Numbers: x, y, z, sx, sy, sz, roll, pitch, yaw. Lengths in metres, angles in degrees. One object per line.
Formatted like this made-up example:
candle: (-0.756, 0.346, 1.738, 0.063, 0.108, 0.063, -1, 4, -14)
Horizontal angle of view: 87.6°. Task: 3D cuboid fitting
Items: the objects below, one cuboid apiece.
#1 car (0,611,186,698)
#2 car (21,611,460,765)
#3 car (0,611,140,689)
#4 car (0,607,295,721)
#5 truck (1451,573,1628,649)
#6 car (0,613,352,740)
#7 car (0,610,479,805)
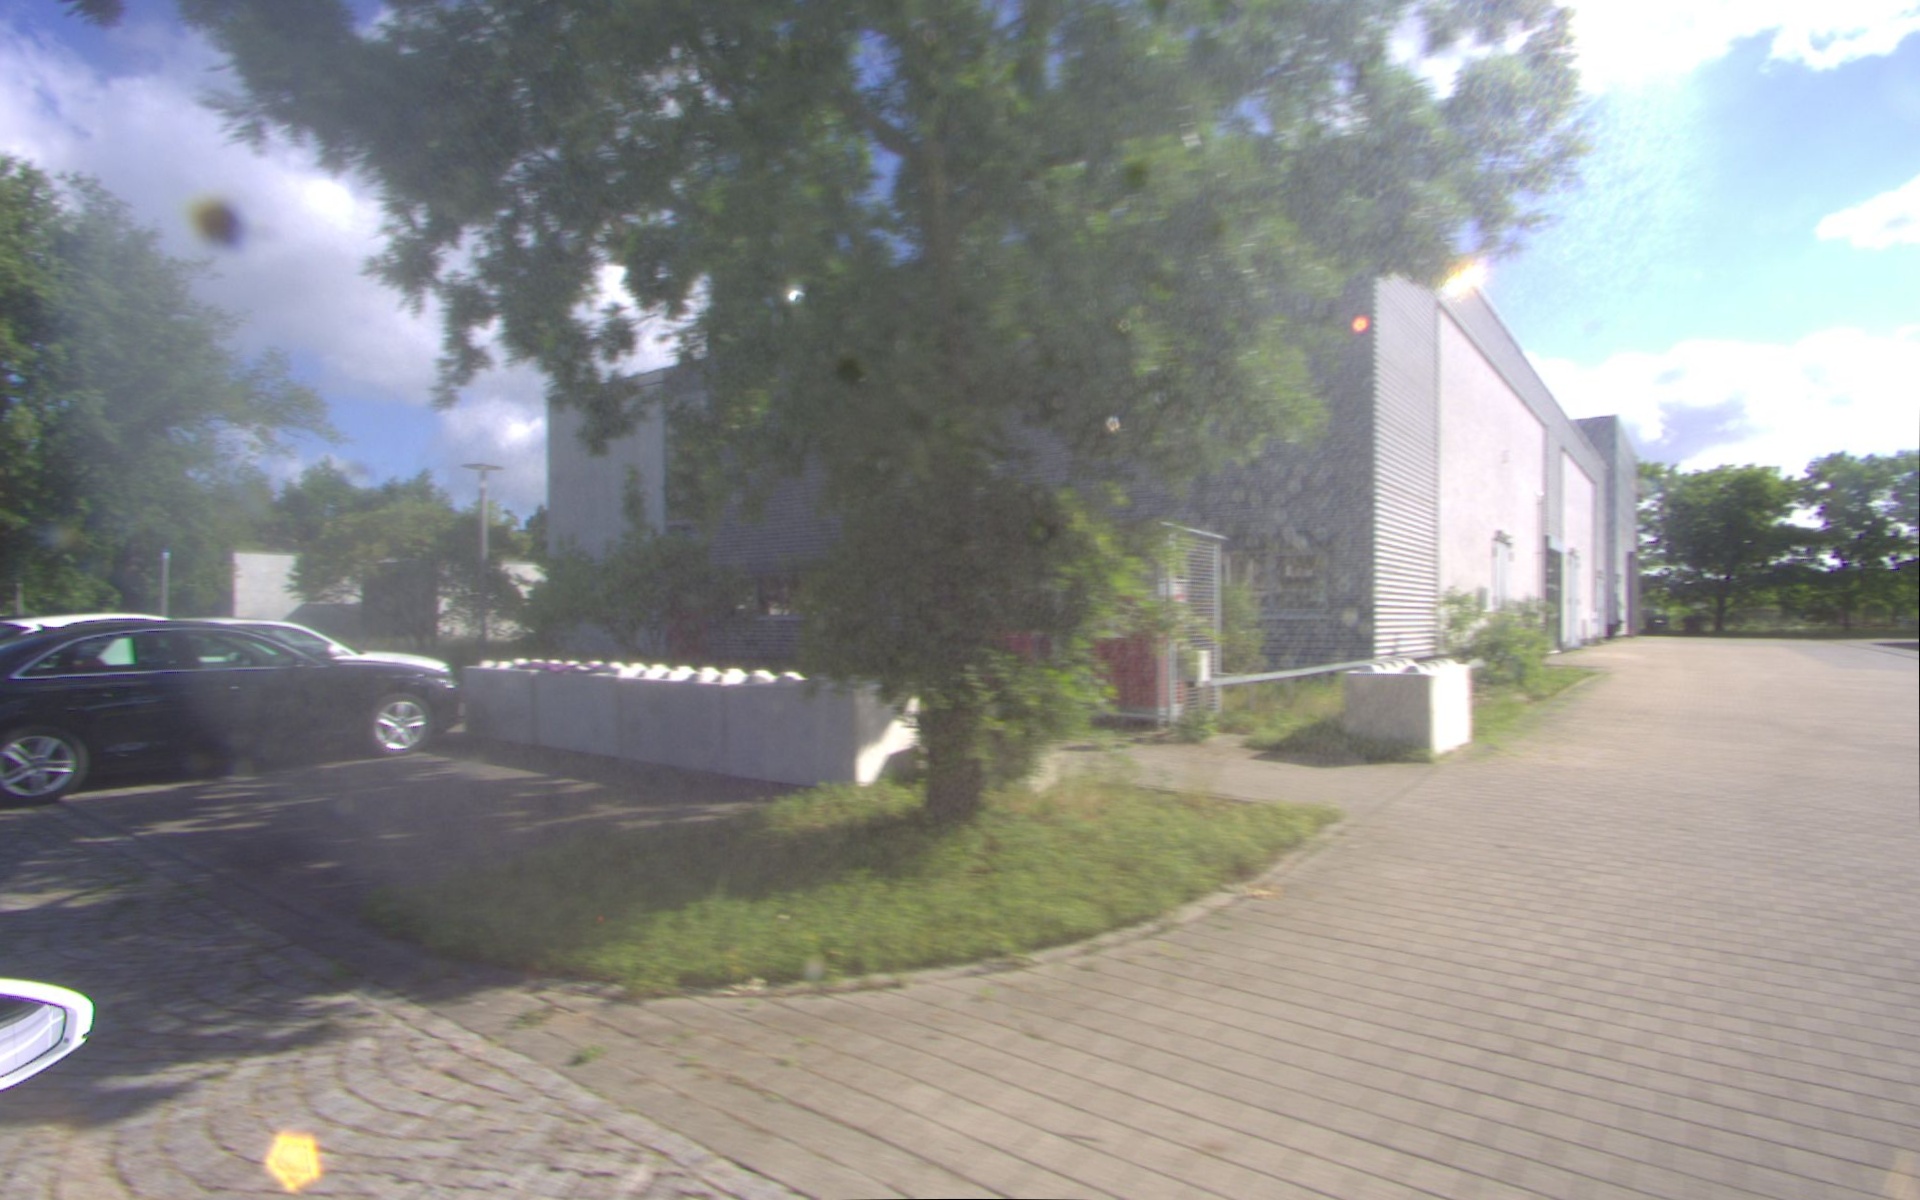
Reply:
car: (-16.755, 0.974, 18.251, 1.671, 1.436, 3.896, -1, 0, 38)
car: (-8.620, 0.921, 12.293, 1.673, 1.479, 4.115, -1, 1, 42)
car: (-18.897, 0.988, 19.765, 1.773, 1.454, 3.896, -1, 0, 38)
car: (-12.652, 0.879, 15.200, 1.734, 1.466, 3.896, -1, 0, 38)
truck: (31.146, 0.643, 54.075, 8.004, 3.867, 2.632, -1, -1, 39)
car: (-10.715, 0.919, 13.550, 1.707, 1.390, 3.896, -1, 0, 38)
car: (-7.333, 0.872, 9.530, 1.734, 1.442, 4.702, -1, 0, 36)
